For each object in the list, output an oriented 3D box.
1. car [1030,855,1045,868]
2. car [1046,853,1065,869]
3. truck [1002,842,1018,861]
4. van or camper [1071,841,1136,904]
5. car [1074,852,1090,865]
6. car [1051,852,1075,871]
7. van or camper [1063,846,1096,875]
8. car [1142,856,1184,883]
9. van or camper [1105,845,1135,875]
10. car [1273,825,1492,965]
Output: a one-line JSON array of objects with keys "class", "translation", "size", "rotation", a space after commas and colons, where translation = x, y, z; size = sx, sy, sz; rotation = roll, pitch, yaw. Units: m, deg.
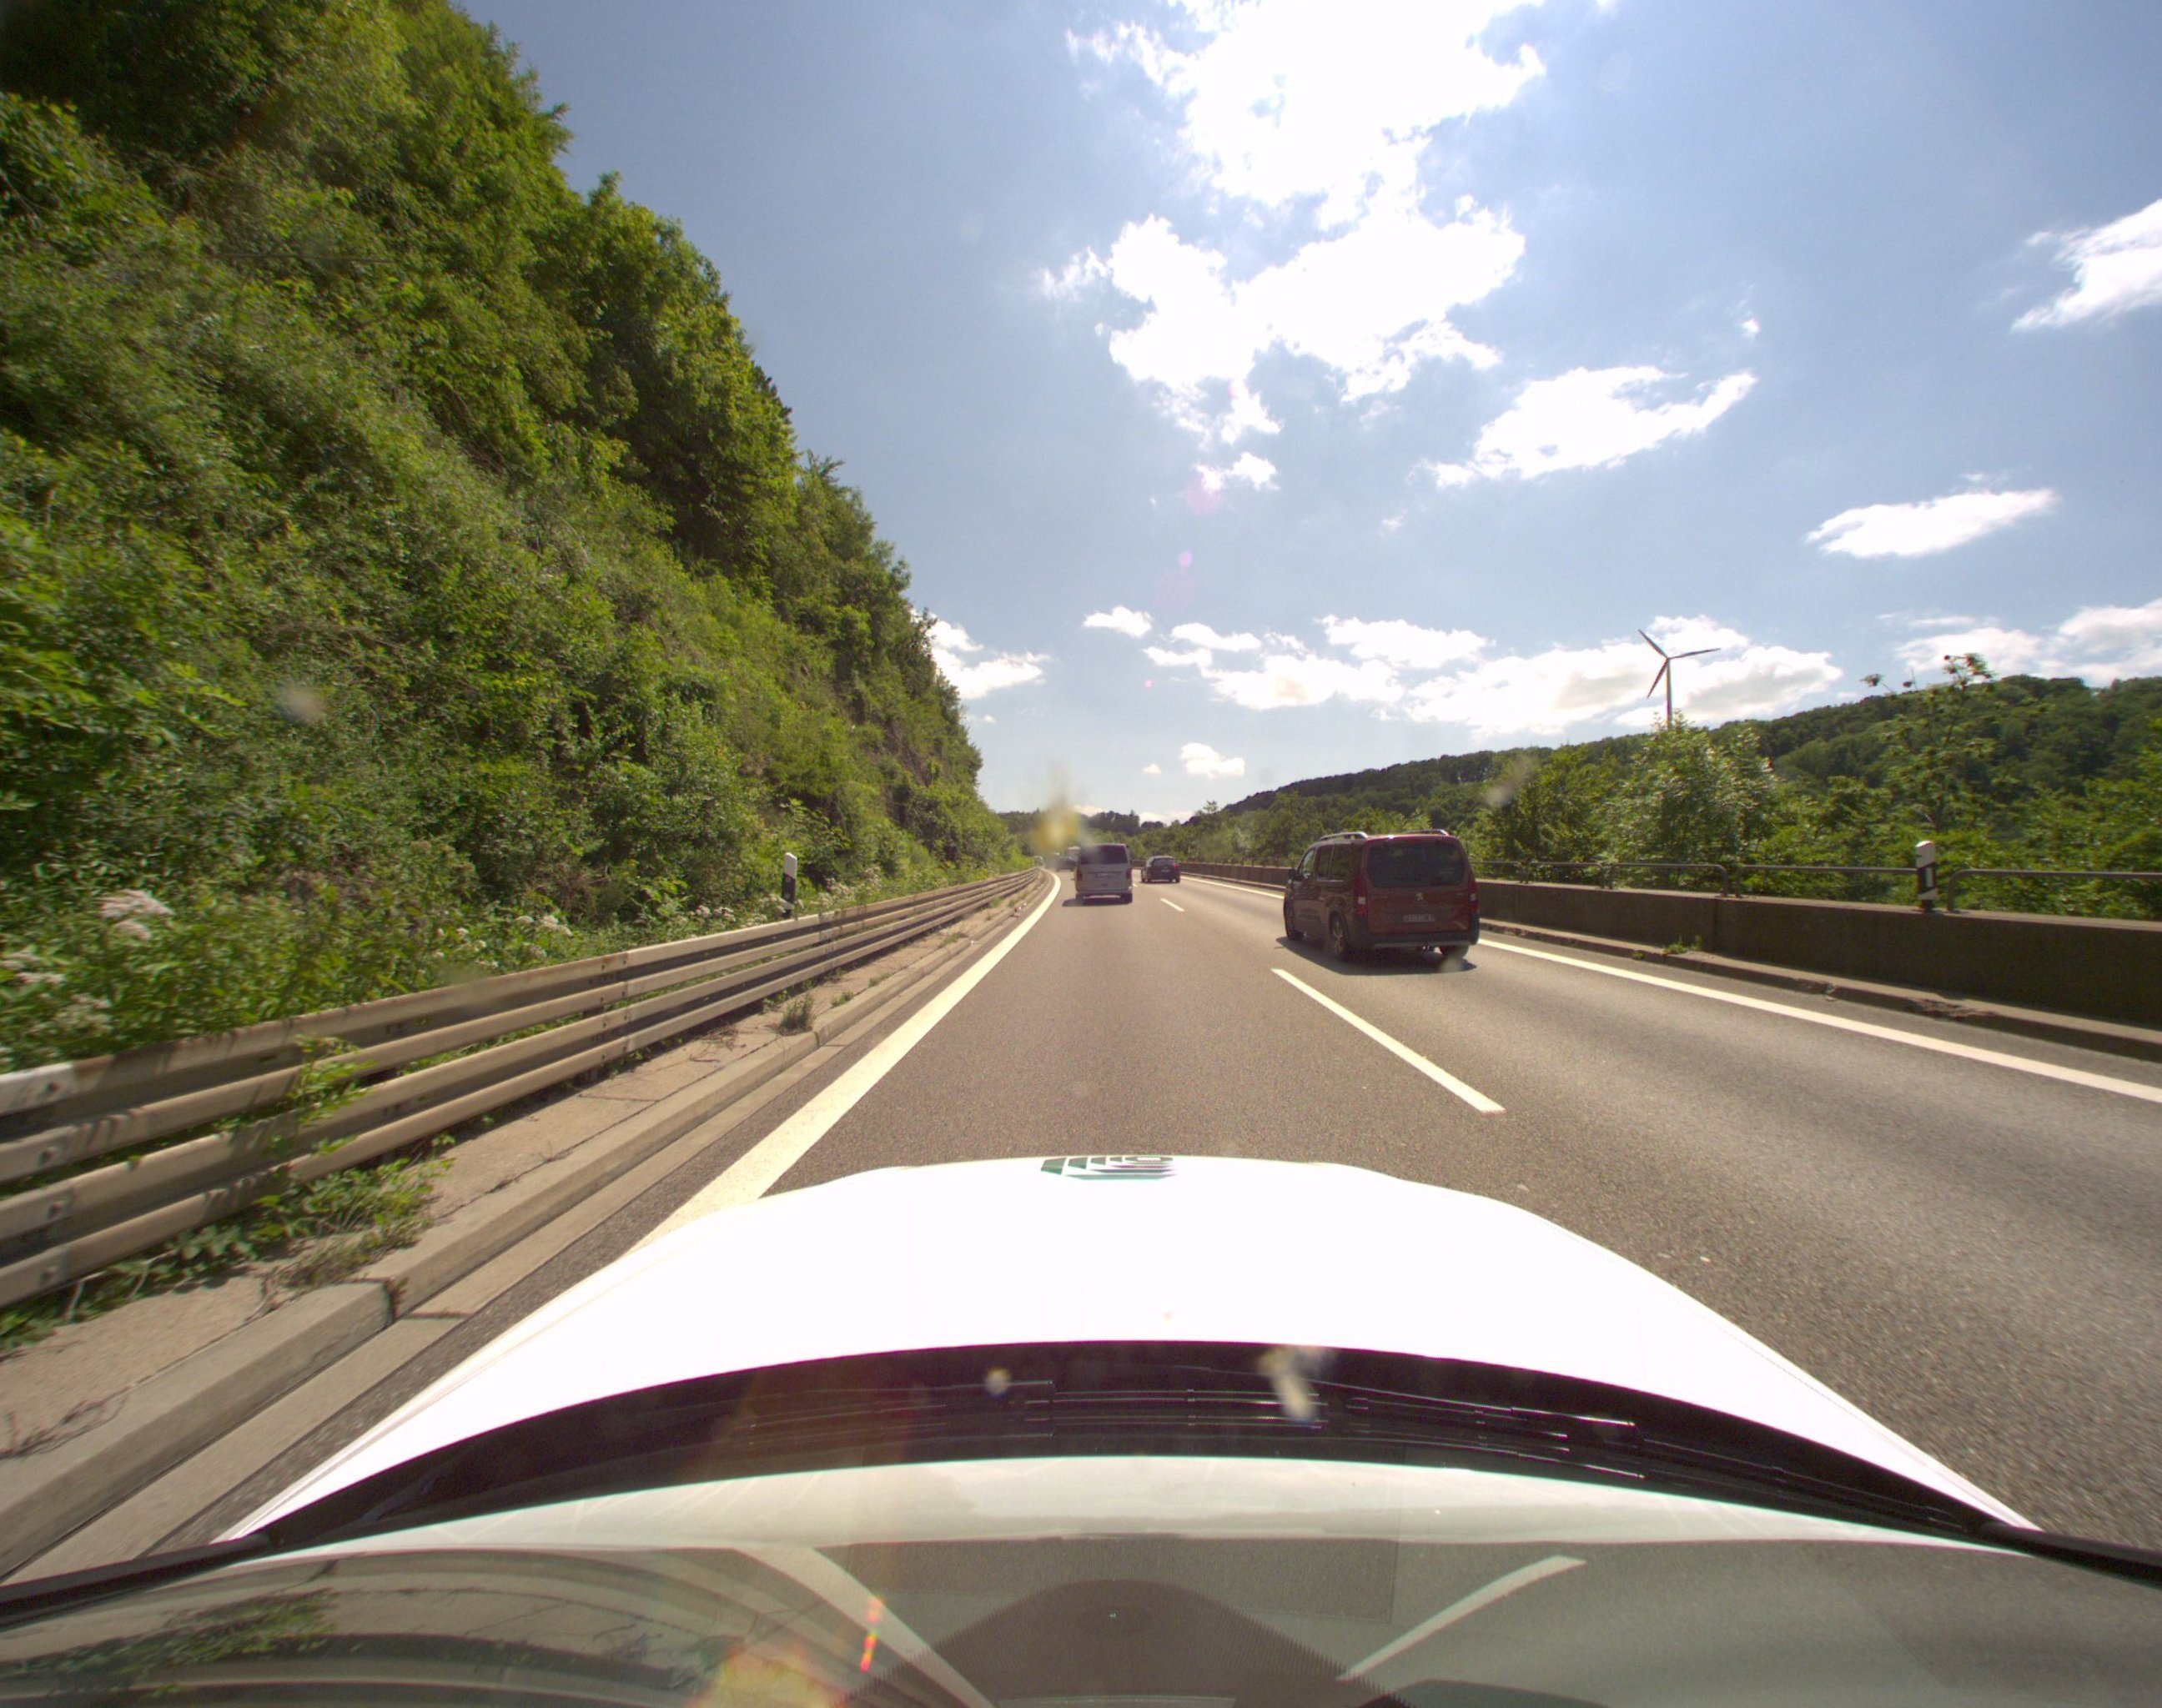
[{"class": "car", "translation": [-6.460, 1.081, 120.163], "size": [1.990, 1.915, 3.993], "rotation": [-1, 0, -5]}, {"class": "car", "translation": [-2.973, 0.804, 96.234], "size": [1.986, 1.817, 4.002], "rotation": [-1, 0, 2]}, {"class": "truck", "translation": [-17.615, -0.590, 201.158], "size": [3.290, 4.519, 7.707], "rotation": [-2, -1, -8]}, {"class": "van or camper", "translation": [0.696, 0.602, 27.962], "size": [1.871, 1.949, 4.289], "rotation": [-2, 0, -2]}, {"class": "car", "translation": [0.184, 0.704, 127.819], "size": [1.992, 2.013, 3.989], "rotation": [-1, 0, -8]}, {"class": "car", "translation": [-1.821, 0.741, 79.567], "size": [1.991, 1.817, 3.991], "rotation": [-1, 0, -7]}, {"class": "van or camper", "translation": [-0.230, 0.869, 113.148], "size": [3.276, 3.789, 8.085], "rotation": [-1, 0, -9]}, {"class": "car", "translation": [4.472, 0.800, 44.762], "size": [1.764, 1.375, 3.589], "rotation": [-1, 0, -2]}, {"class": "van or camper", "translation": [3.472, 0.526, 72.805], "size": [2.257, 2.551, 4.733], "rotation": [-2, -1, -1]}, {"class": "car", "translation": [4.491, 0.566, 12.980], "size": [1.826, 1.784, 4.677], "rotation": [-2, -1, 2]}]
